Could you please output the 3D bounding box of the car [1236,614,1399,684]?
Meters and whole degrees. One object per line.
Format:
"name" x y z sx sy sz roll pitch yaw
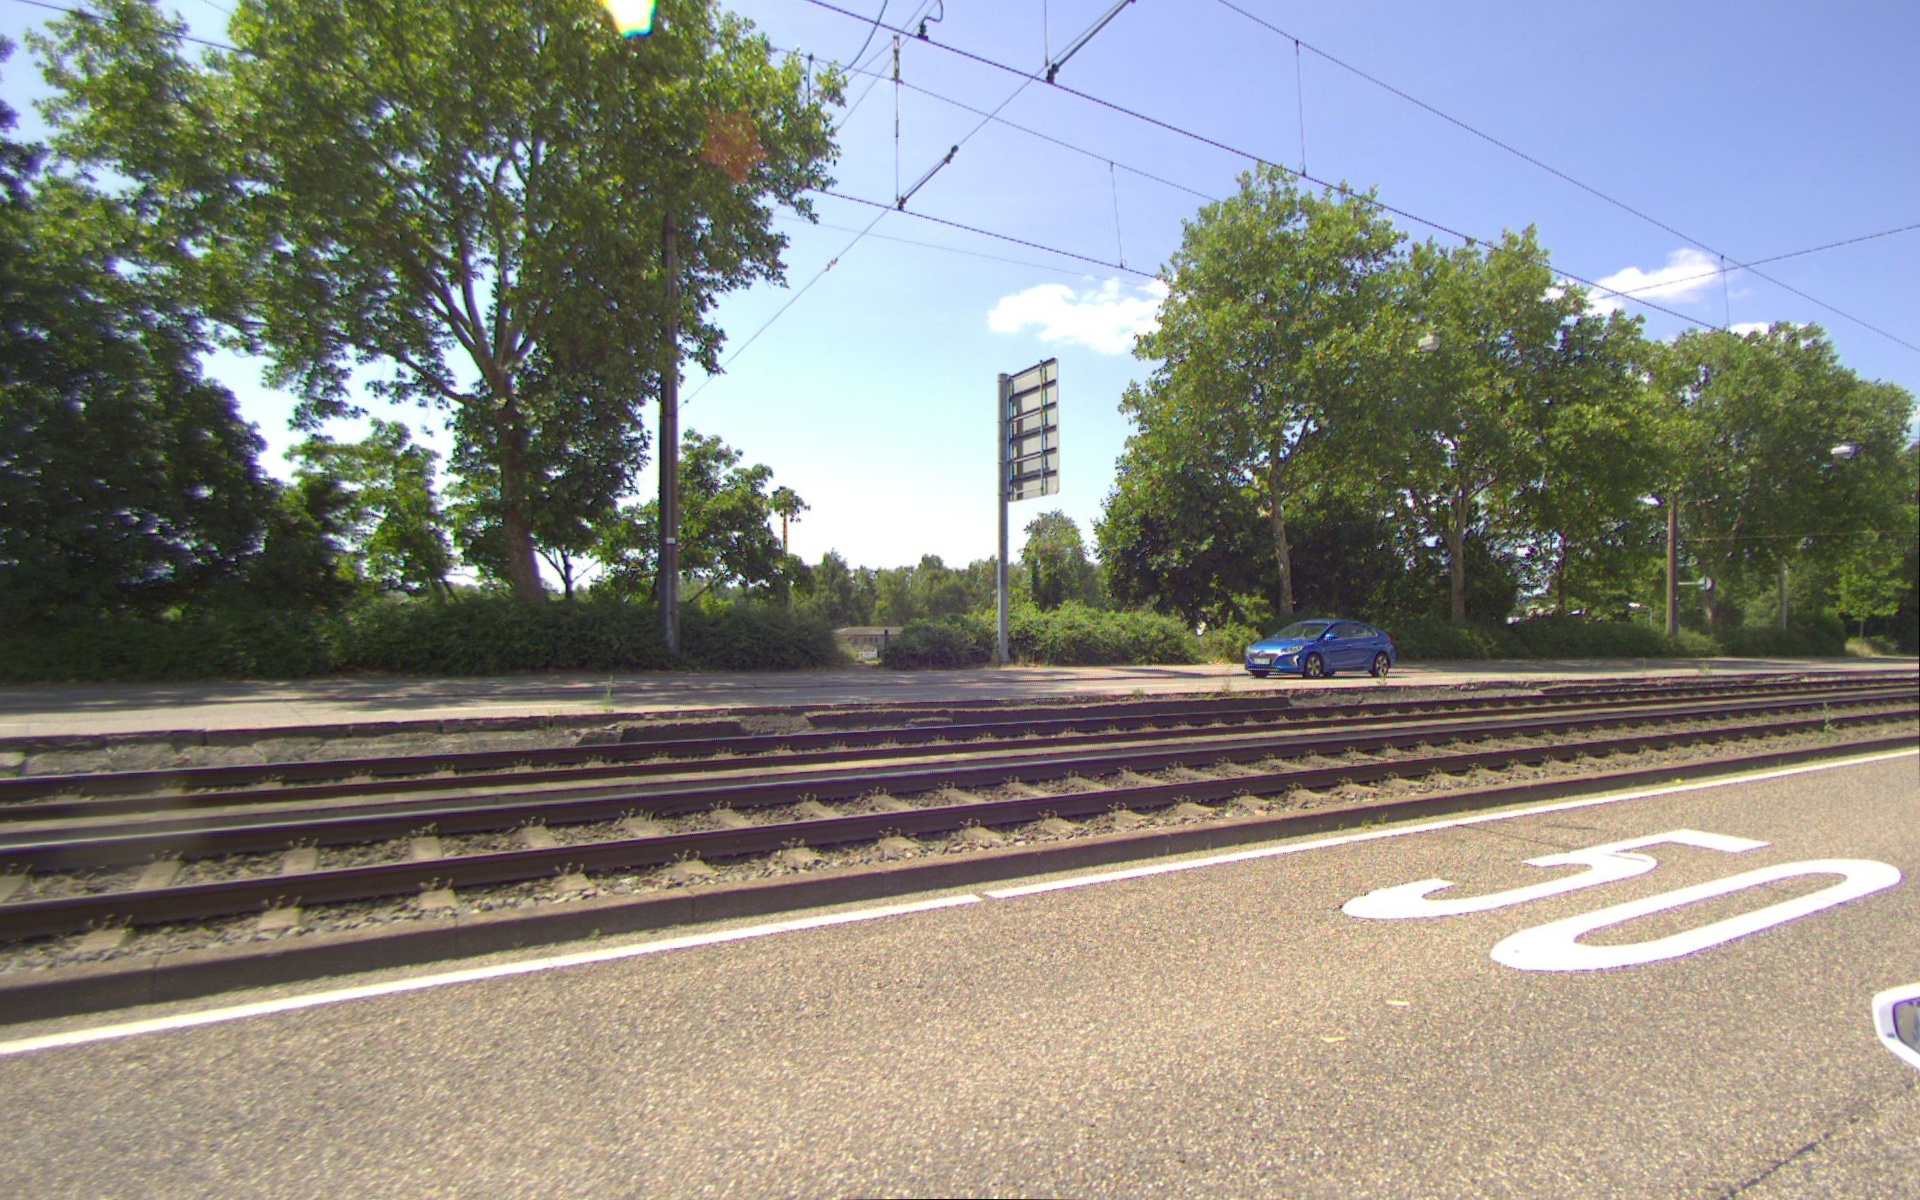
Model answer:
"car" 9.011 1.196 25.237 4.171 1.571 1.635 1 0 -33
